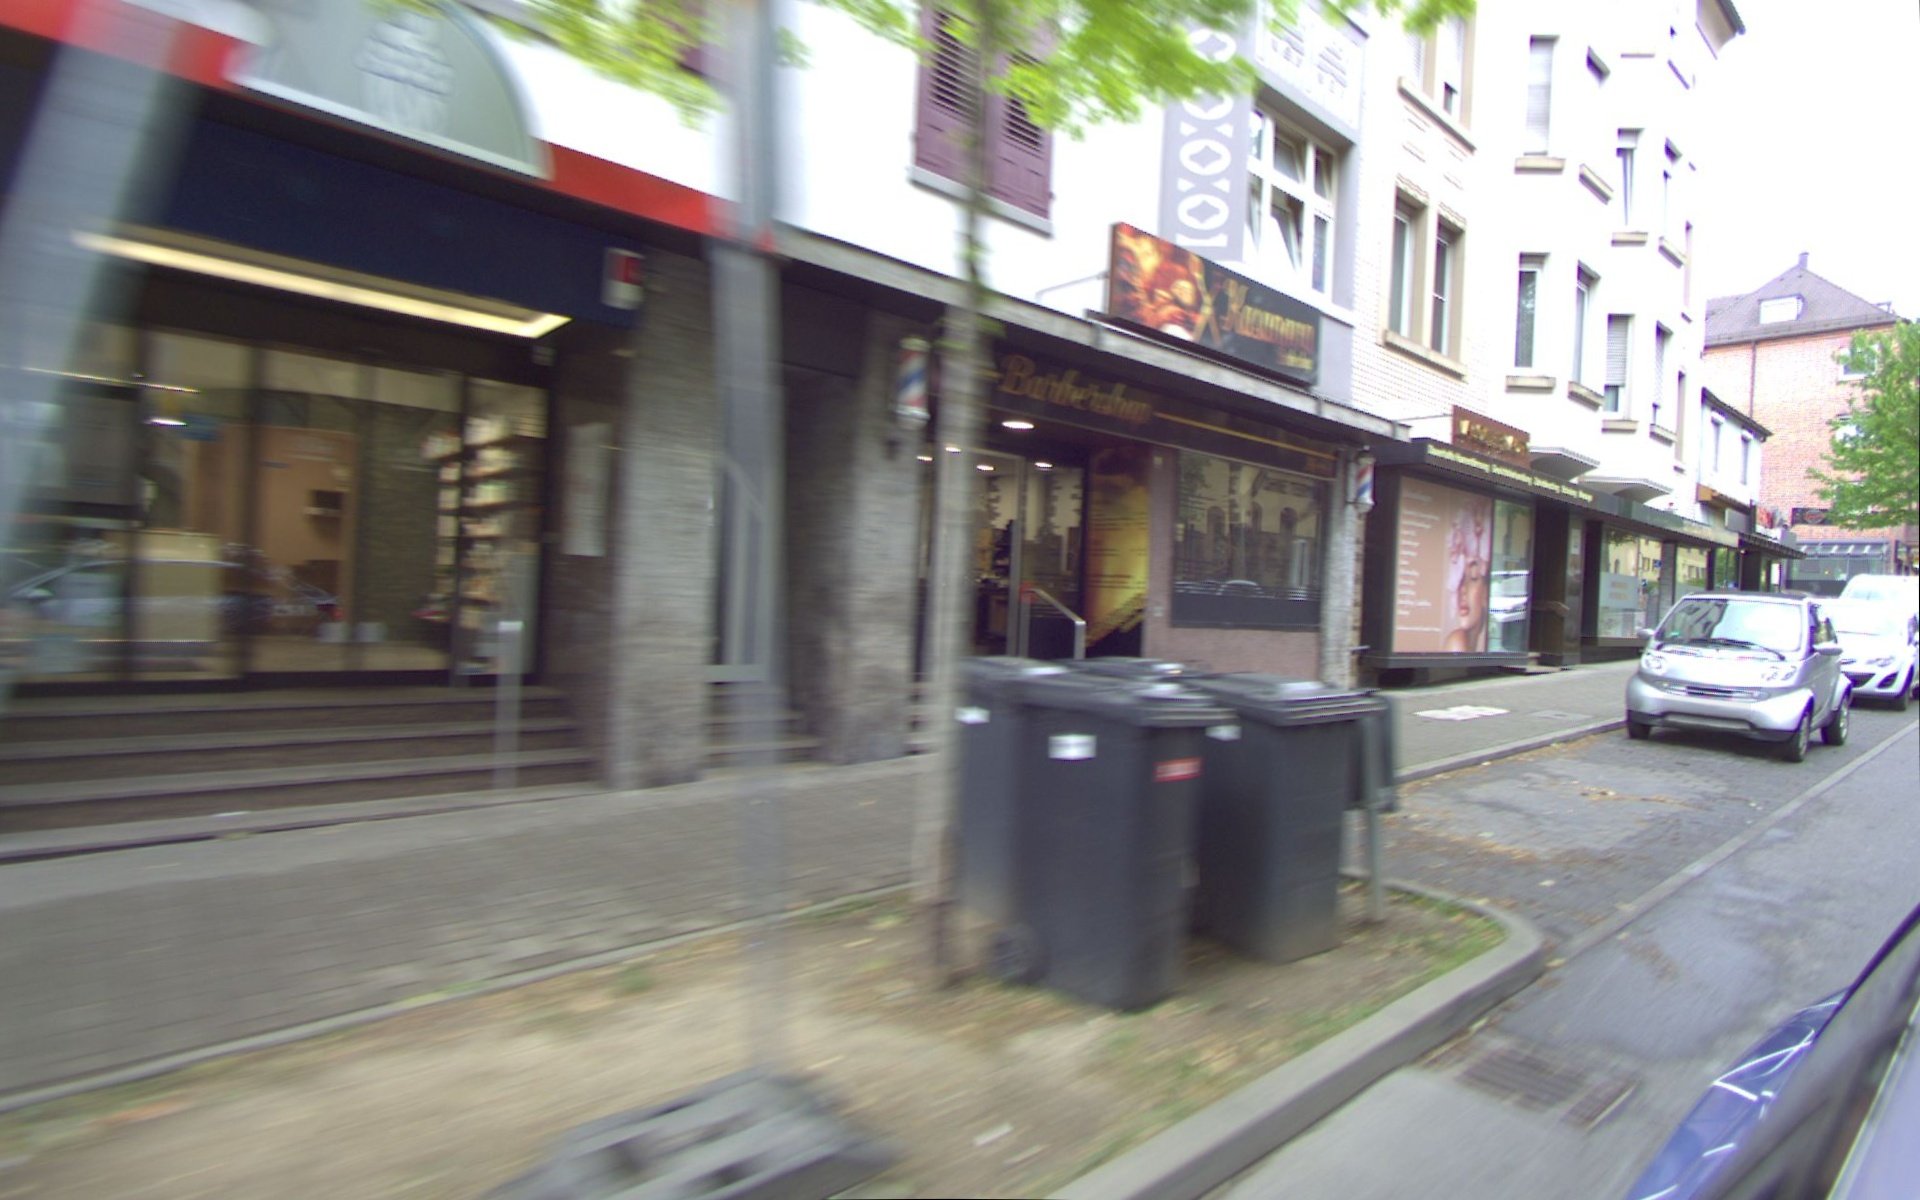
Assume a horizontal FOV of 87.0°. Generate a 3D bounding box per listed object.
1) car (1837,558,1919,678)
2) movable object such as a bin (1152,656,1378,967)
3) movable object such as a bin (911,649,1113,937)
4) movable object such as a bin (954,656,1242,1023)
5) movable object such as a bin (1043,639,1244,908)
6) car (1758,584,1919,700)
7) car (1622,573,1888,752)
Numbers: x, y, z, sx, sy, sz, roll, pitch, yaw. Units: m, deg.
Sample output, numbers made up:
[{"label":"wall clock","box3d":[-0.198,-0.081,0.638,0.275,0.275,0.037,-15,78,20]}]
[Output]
[{"label":"car","box3d":[17.617,0.308,18.501,4.839,1.954,1.908,0,3,-44]},{"label":"movable object such as a bin","box3d":[1.231,0.781,4.070,0.622,1.037,0.686,2,1,42]},{"label":"movable object such as a bin","box3d":[0.216,0.754,4.266,0.613,1.037,0.578,0,1,-40]},{"label":"movable object such as a bin","box3d":[0.477,0.748,3.463,0.685,1.037,0.623,7,-4,-43]},{"label":"movable object such as a bin","box3d":[0.851,0.753,4.754,0.612,1.087,0.697,0,1,-35]},{"label":"car","box3d":[13.453,0.542,15.091,3.971,1.433,1.687,0,3,-41]},{"label":"car","box3d":[8.496,0.559,10.727,3.459,1.553,1.485,1,2,-40]}]
